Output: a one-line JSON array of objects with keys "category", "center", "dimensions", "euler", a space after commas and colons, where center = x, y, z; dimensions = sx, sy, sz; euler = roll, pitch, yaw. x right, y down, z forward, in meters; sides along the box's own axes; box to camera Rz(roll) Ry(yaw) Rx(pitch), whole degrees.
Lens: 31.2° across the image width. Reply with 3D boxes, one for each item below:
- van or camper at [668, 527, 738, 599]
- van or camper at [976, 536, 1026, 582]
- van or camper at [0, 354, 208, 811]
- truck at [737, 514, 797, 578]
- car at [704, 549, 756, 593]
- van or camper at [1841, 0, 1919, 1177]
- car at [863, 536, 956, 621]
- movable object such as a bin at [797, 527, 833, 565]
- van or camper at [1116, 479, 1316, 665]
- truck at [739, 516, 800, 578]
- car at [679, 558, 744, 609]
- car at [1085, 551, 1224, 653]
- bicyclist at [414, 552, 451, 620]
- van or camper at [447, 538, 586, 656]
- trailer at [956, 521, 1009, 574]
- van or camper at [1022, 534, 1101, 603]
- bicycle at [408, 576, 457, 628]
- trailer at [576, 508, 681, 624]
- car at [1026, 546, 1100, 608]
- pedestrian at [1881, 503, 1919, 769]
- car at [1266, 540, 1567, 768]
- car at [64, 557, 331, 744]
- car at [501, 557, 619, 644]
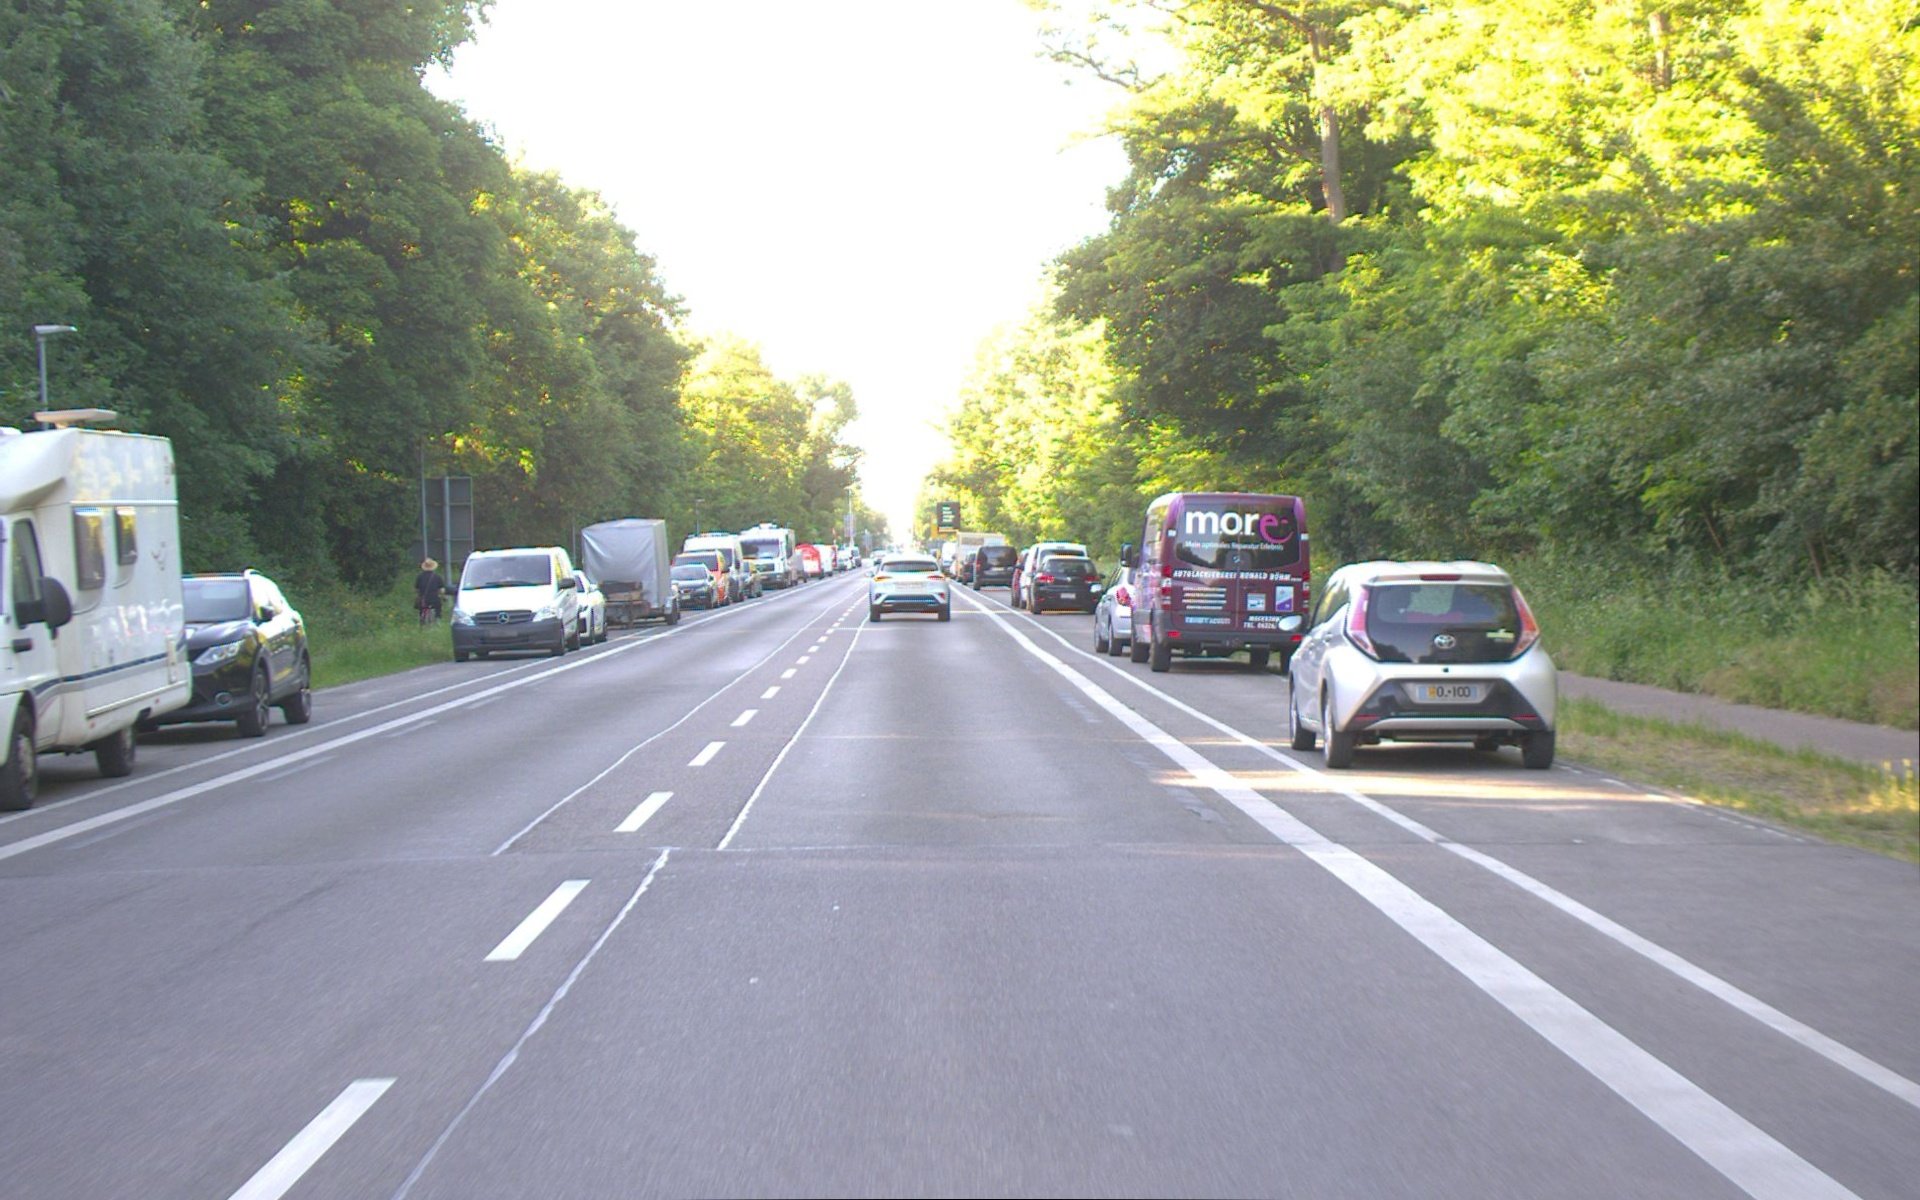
[{"category": "van or camper", "center": [-9.568, -1.398, 128.523], "dimensions": [2.121, 2.563, 6.542], "euler": [-2, 1, 0]}, {"category": "van or camper", "center": [1.730, -1.776, 146.604], "dimensions": [1.993, 1.925, 5.199], "euler": [0, 1, -1]}, {"category": "van or camper", "center": [-7.478, -0.102, 25.784], "dimensions": [2.314, 2.959, 7.112], "euler": [-3, 1, -3]}, {"category": "truck", "center": [-10.465, -2.920, 187.214], "dimensions": [2.707, 3.336, 10.924], "euler": [-1, 1, -1]}, {"category": "car", "center": [-9.306, -1.188, 139.535], "dimensions": [1.781, 1.678, 4.378], "euler": [-3, 1, 0]}, {"category": "van or camper", "center": [3.989, -0.110, 10.236], "dimensions": [2.442, 2.790, 6.553], "euler": [0, 2, 13]}, {"category": "car", "center": [-1.129, -0.516, 78.364], "dimensions": [2.028, 1.834, 4.029], "euler": [-1, 1, 0]}, {"category": "movable object such as a bin", "center": [-9.899, -3.671, 234.784], "dimensions": [2.322, 2.493, 4.000], "euler": [-1, 1, -1]}, {"category": "van or camper", "center": [3.391, -0.411, 46.759], "dimensions": [2.035, 2.304, 6.041], "euler": [-2, 1, -2]}, {"category": "truck", "center": [-9.694, -2.700, 175.745], "dimensions": [2.707, 3.083, 7.989], "euler": [-1, 1, -1]}, {"category": "car", "center": [-7.891, -0.542, 109.608], "dimensions": [1.731, 1.473, 4.324], "euler": [-3, 1, 0]}, {"category": "car", "center": [3.003, 0.001, 53.745], "dimensions": [1.747, 1.510, 4.001], "euler": [1, 1, -3]}, {"category": "bicyclist", "center": [-10.752, -0.288, 70.091], "dimensions": [0.604, 1.369, 0.799], "euler": [-1, 1, -1]}, {"category": "van or camper", "center": [-7.705, -0.092, 60.150], "dimensions": [1.835, 1.905, 4.856], "euler": [-3, 1, -1]}, {"category": "trailer", "center": [1.225, -2.911, 191.659], "dimensions": [2.757, 2.860, 6.589], "euler": [-1, 1, -1]}, {"category": "van or camper", "center": [2.739, -0.881, 93.490], "dimensions": [1.951, 1.809, 4.381], "euler": [-1, 1, -1]}, {"category": "bicycle", "center": [-10.743, 0.032, 70.092], "dimensions": [0.651, 1.005, 2.396], "euler": [-1, 1, -1]}, {"category": "trailer", "center": [-7.928, -0.833, 82.627], "dimensions": [1.993, 2.588, 4.416], "euler": [-3, 1, -1]}, {"category": "car", "center": [2.584, -0.592, 86.970], "dimensions": [1.690, 1.519, 4.150], "euler": [0, 1, -1]}, {"category": "pedestrian", "center": [7.247, 0.245, 25.089], "dimensions": [0.768, 1.911, 0.920], "euler": [-1, 1, -1]}, {"category": "car", "center": [3.330, 0.340, 25.768], "dimensions": [1.712, 1.540, 4.022], "euler": [1, 1, 0]}, {"category": "car", "center": [-7.473, 0.443, 34.055], "dimensions": [1.646, 1.626, 4.274], "euler": [-3, 1, -1]}, {"category": "car", "center": [-7.737, -0.019, 66.848], "dimensions": [1.774, 1.535, 4.525], "euler": [-3, 1, -1]}]
